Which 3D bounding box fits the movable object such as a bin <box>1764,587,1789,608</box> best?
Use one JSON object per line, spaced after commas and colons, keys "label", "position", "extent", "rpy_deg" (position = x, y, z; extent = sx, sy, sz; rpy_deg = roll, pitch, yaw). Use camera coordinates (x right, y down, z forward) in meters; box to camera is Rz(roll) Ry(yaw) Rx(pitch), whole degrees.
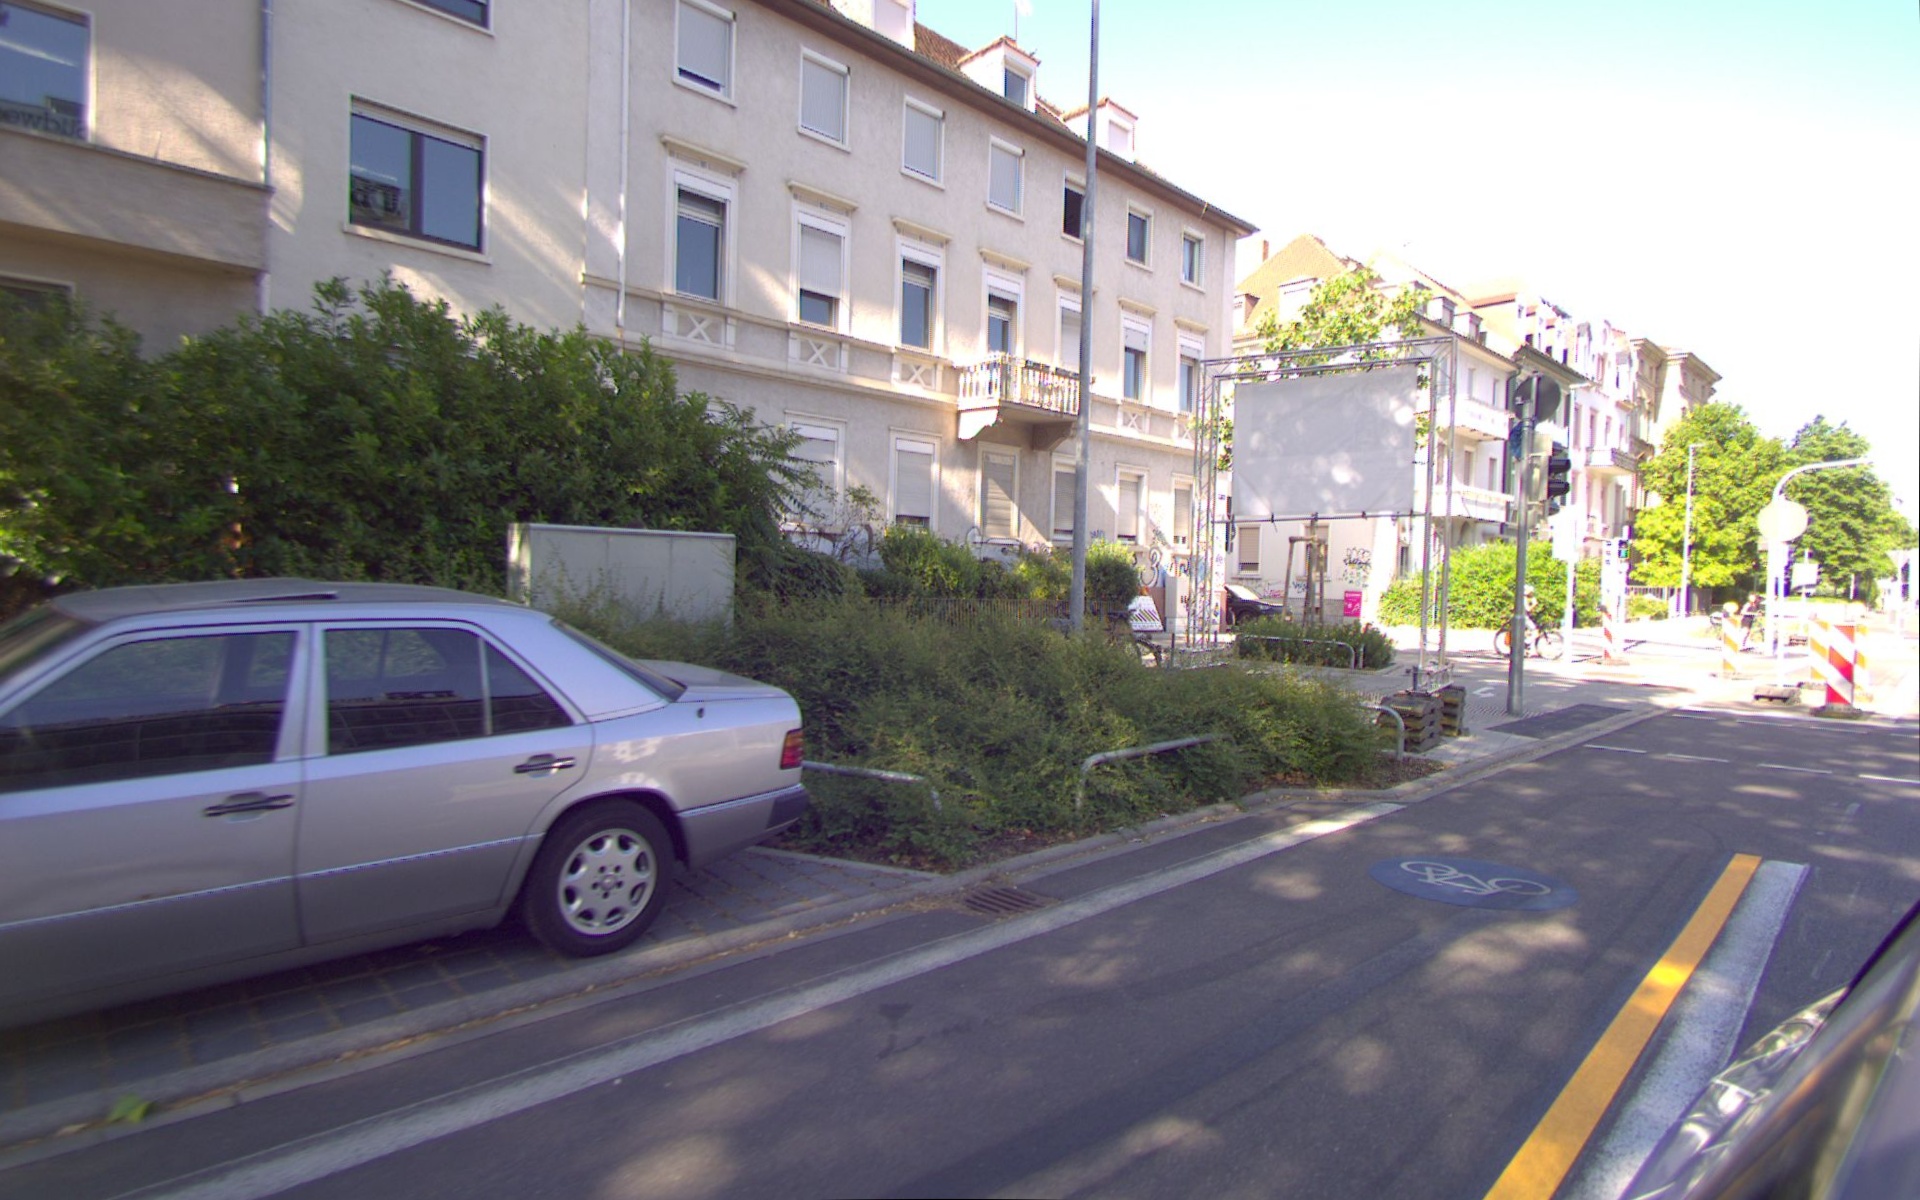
{"label": "movable object such as a bin", "position": [58.114, -0.206, 72.054], "extent": [0.963, 1.415, 1.277], "rpy_deg": [4, 2, 23]}

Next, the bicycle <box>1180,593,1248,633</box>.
{"label": "bicycle", "position": [7.566, 0.378, 30.237], "extent": [0.569, 1.093, 2.000], "rpy_deg": [0, 1, -41]}

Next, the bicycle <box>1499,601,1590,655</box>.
{"label": "bicycle", "position": [13.732, 0.645, 23.815], "extent": [1.661, 1.111, 0.688], "rpy_deg": [4, 1, 13]}

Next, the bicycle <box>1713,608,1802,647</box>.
{"label": "bicycle", "position": [23.062, 0.783, 29.298], "extent": [0.595, 1.038, 1.964], "rpy_deg": [1, 0, -43]}

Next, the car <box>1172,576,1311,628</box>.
{"label": "car", "position": [9.538, 0.001, 34.597], "extent": [1.949, 1.639, 4.261], "rpy_deg": [0, 1, -38]}

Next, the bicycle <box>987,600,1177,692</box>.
{"label": "bicycle", "position": [1.408, 0.531, 11.786], "extent": [2.088, 1.017, 0.590], "rpy_deg": [1, 1, -8]}

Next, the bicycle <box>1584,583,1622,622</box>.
{"label": "bicycle", "position": [25.023, 0.106, 39.359], "extent": [0.708, 1.462, 2.450], "rpy_deg": [0, 0, 45]}

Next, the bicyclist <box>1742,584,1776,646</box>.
{"label": "bicyclist", "position": [23.070, 0.430, 29.217], "extent": [0.844, 1.730, 0.604], "rpy_deg": [1, 1, -44]}

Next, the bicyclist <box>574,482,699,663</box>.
{"label": "bicyclist", "position": [-3.474, -0.290, 10.886], "extent": [1.052, 1.843, 0.725], "rpy_deg": [0, 1, -43]}

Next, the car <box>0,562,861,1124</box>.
{"label": "car", "position": [-2.836, 0.625, 3.740], "extent": [1.853, 1.498, 4.862], "rpy_deg": [2, 2, 45]}

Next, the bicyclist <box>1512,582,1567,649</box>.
{"label": "bicyclist", "position": [13.659, 0.349, 23.882], "extent": [0.858, 1.518, 0.723], "rpy_deg": [3, 1, 12]}
